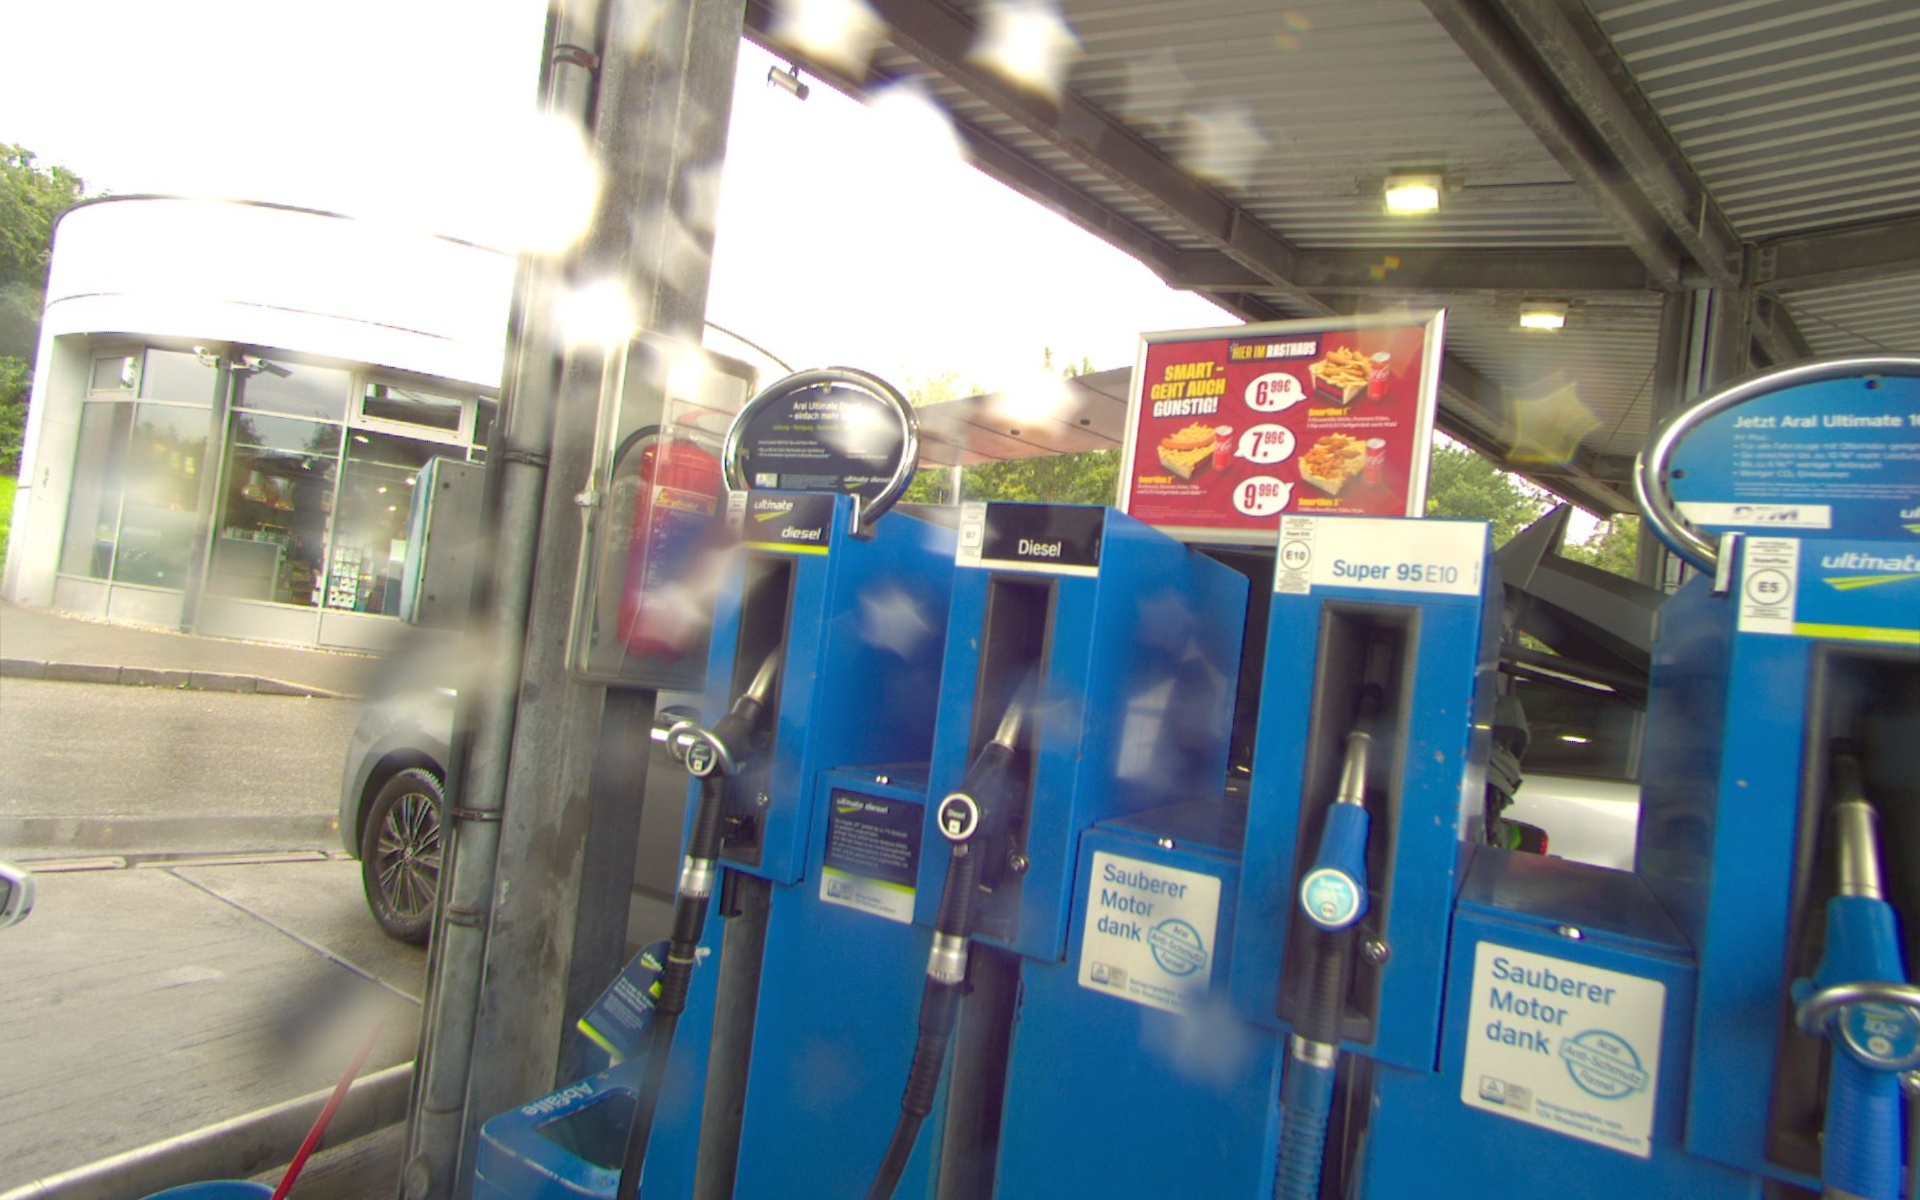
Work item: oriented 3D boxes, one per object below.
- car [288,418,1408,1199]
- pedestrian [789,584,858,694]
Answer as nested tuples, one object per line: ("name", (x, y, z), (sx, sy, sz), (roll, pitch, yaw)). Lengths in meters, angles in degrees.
("car", (-0.586, 0.497, 3.983), (3.934, 1.971, 1.819), (7, -1, 32))
("pedestrian", (-2.339, 0.652, 17.209), (0.786, 1.755, 0.835), (7, 0, -23))
